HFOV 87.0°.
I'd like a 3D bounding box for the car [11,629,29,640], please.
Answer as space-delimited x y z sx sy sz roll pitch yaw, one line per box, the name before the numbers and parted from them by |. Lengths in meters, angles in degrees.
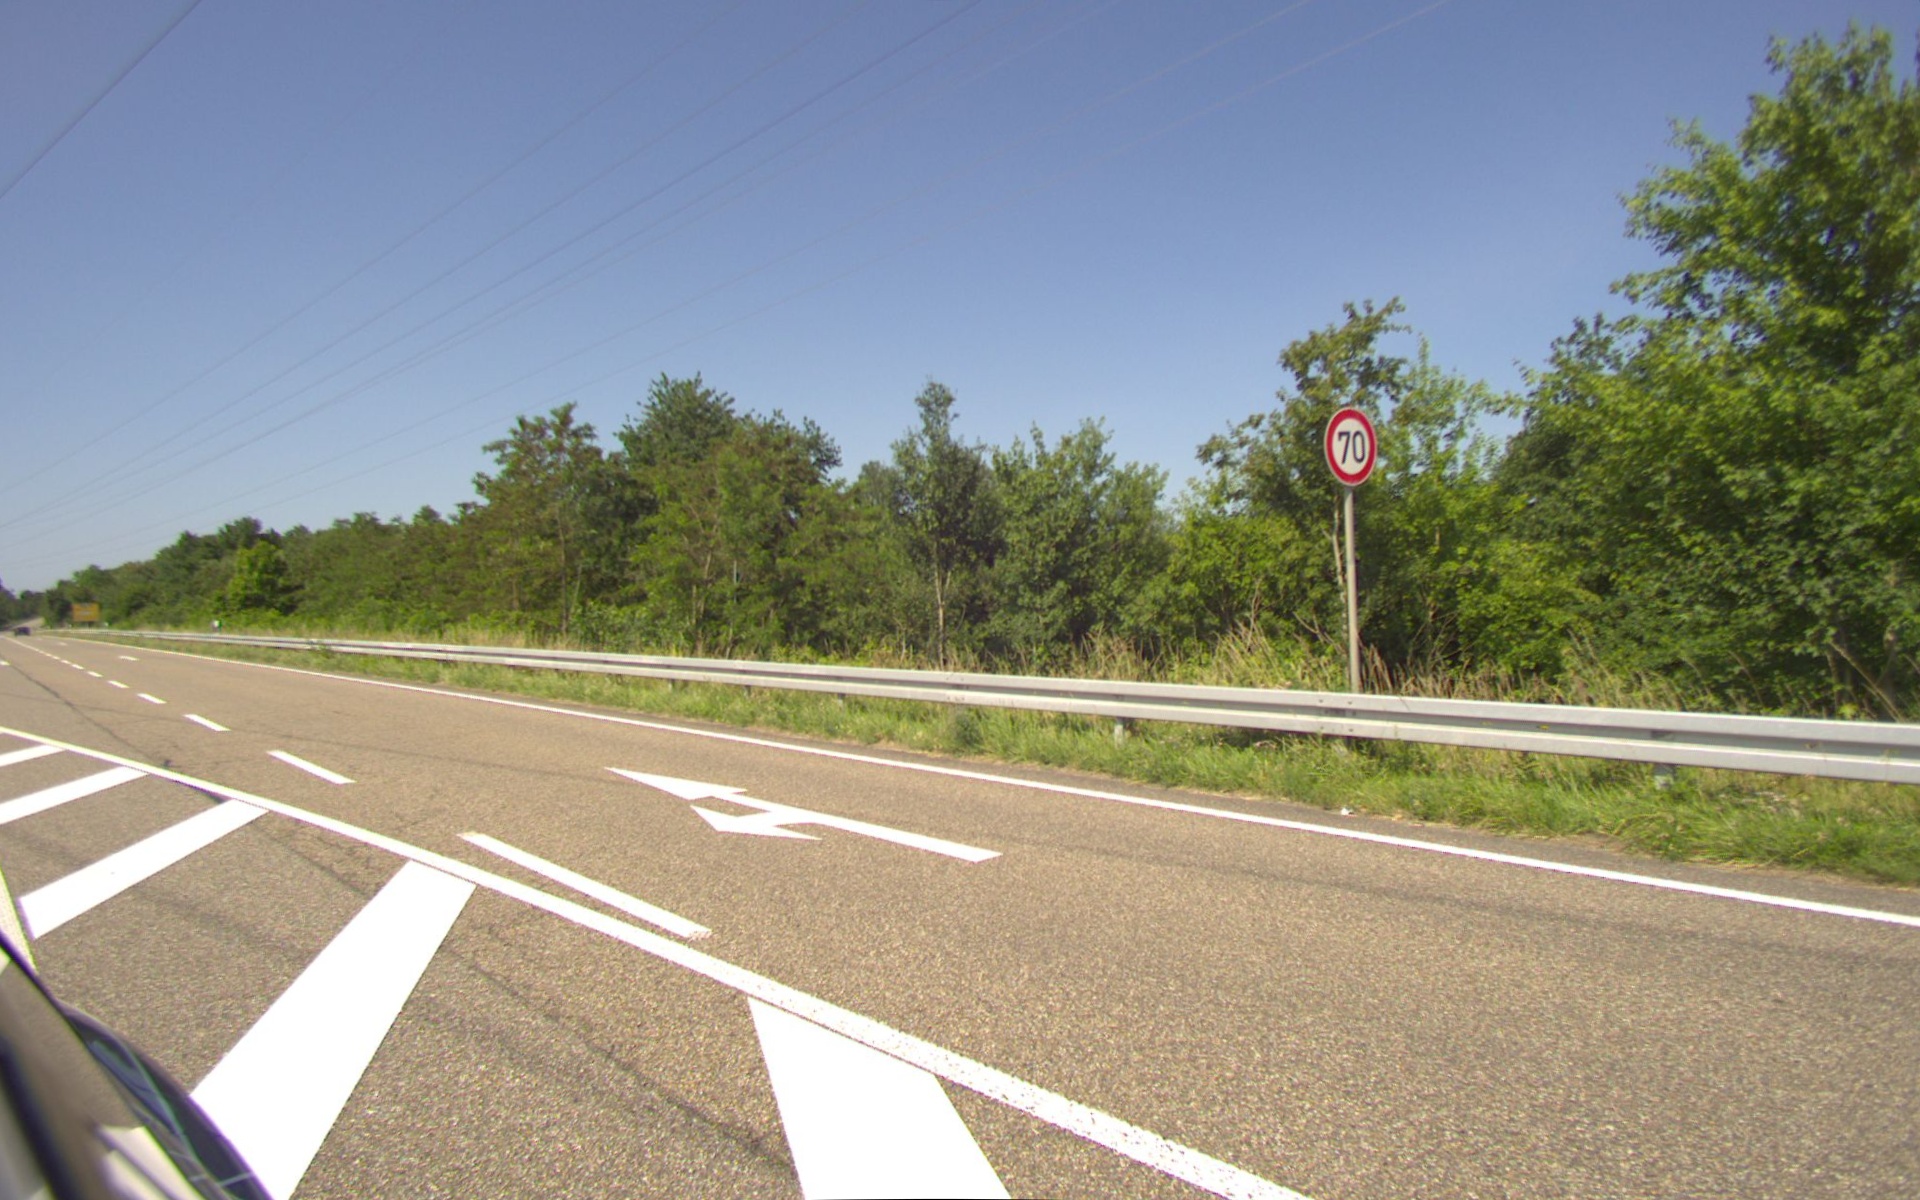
car | -137.137 5.018 147.645 1.807 1.595 4.004 1 -2 -43
